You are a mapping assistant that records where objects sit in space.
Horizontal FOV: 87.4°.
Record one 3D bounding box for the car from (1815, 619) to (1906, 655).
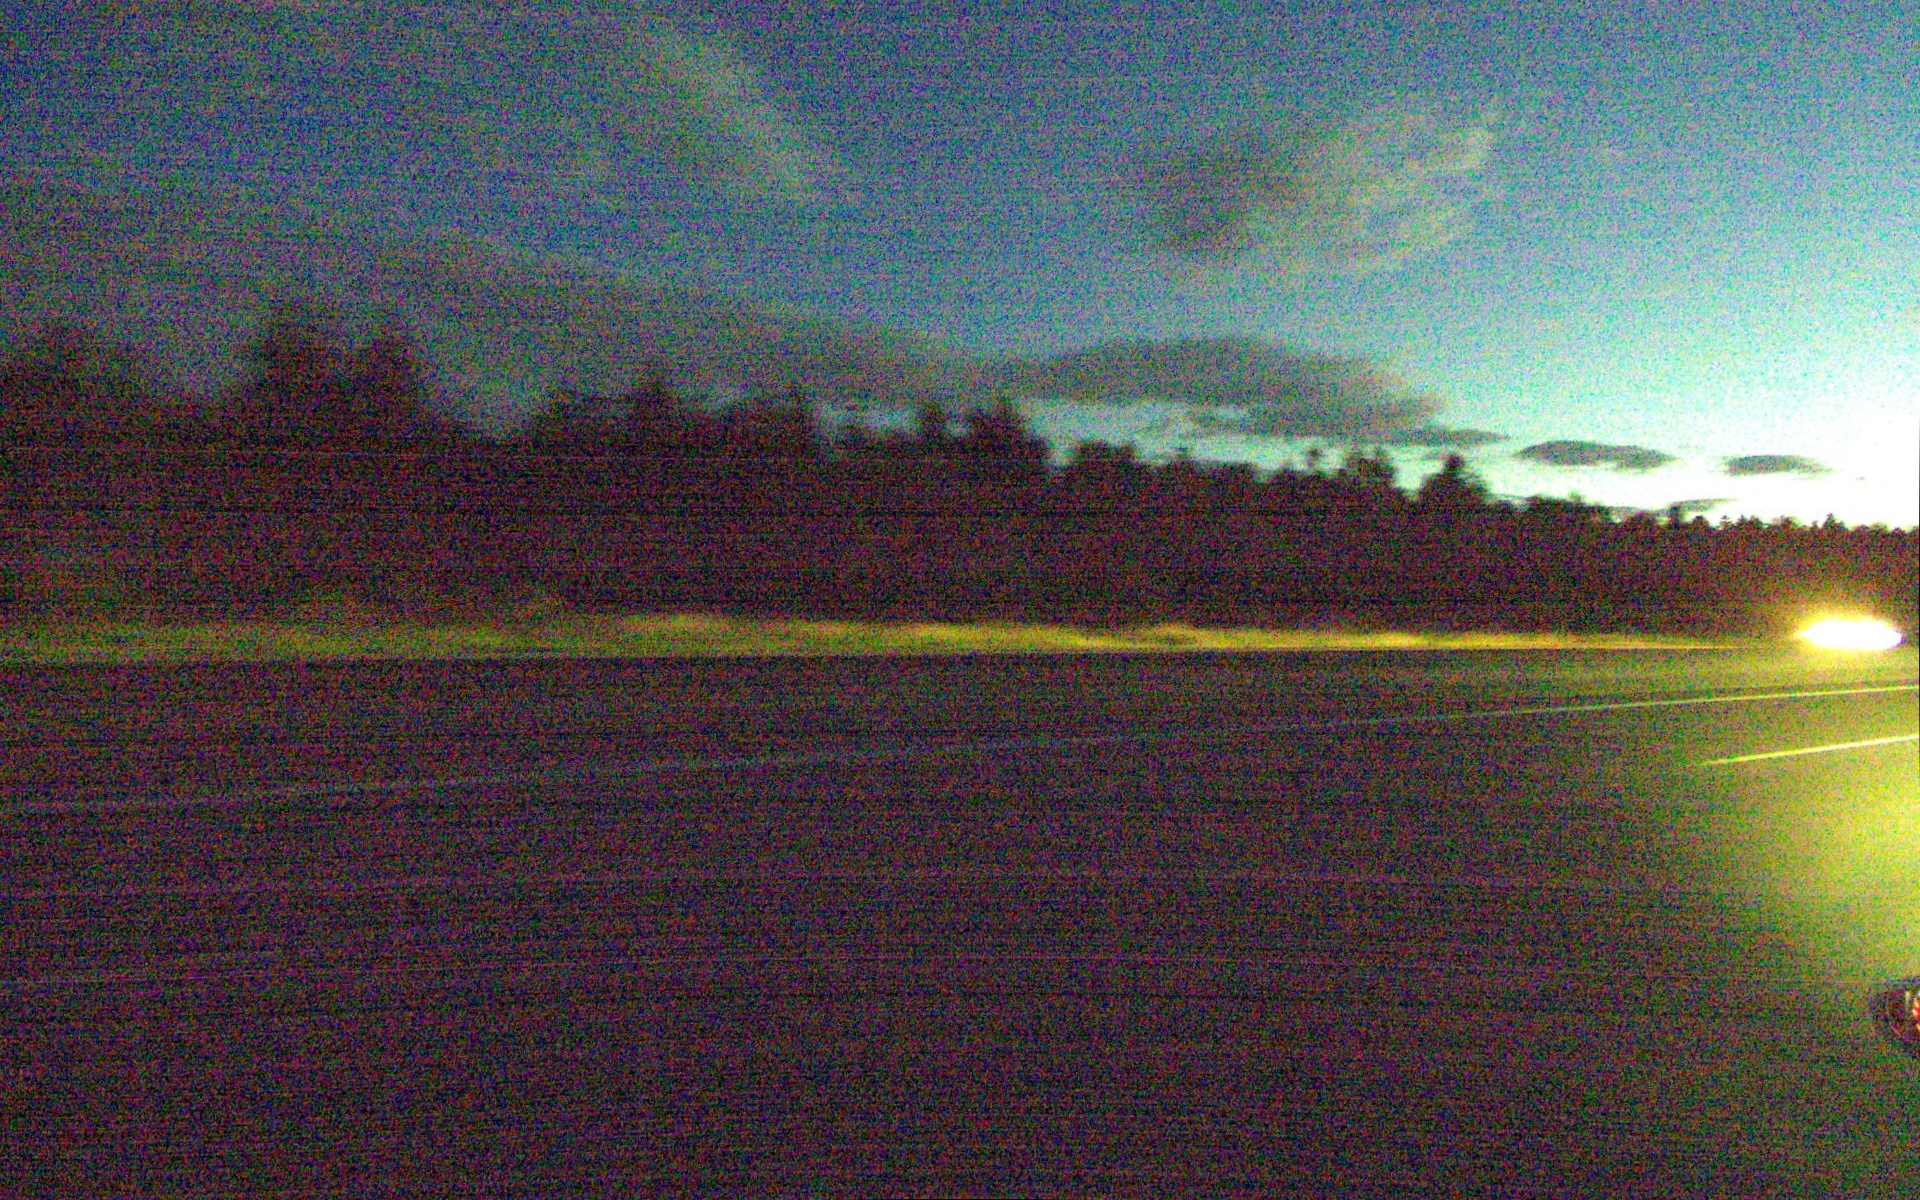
[{"bbox_3d":[48.188,2.002,53.735,5.024,1.801,1.986,2,0,-27],"label":"car"}]
